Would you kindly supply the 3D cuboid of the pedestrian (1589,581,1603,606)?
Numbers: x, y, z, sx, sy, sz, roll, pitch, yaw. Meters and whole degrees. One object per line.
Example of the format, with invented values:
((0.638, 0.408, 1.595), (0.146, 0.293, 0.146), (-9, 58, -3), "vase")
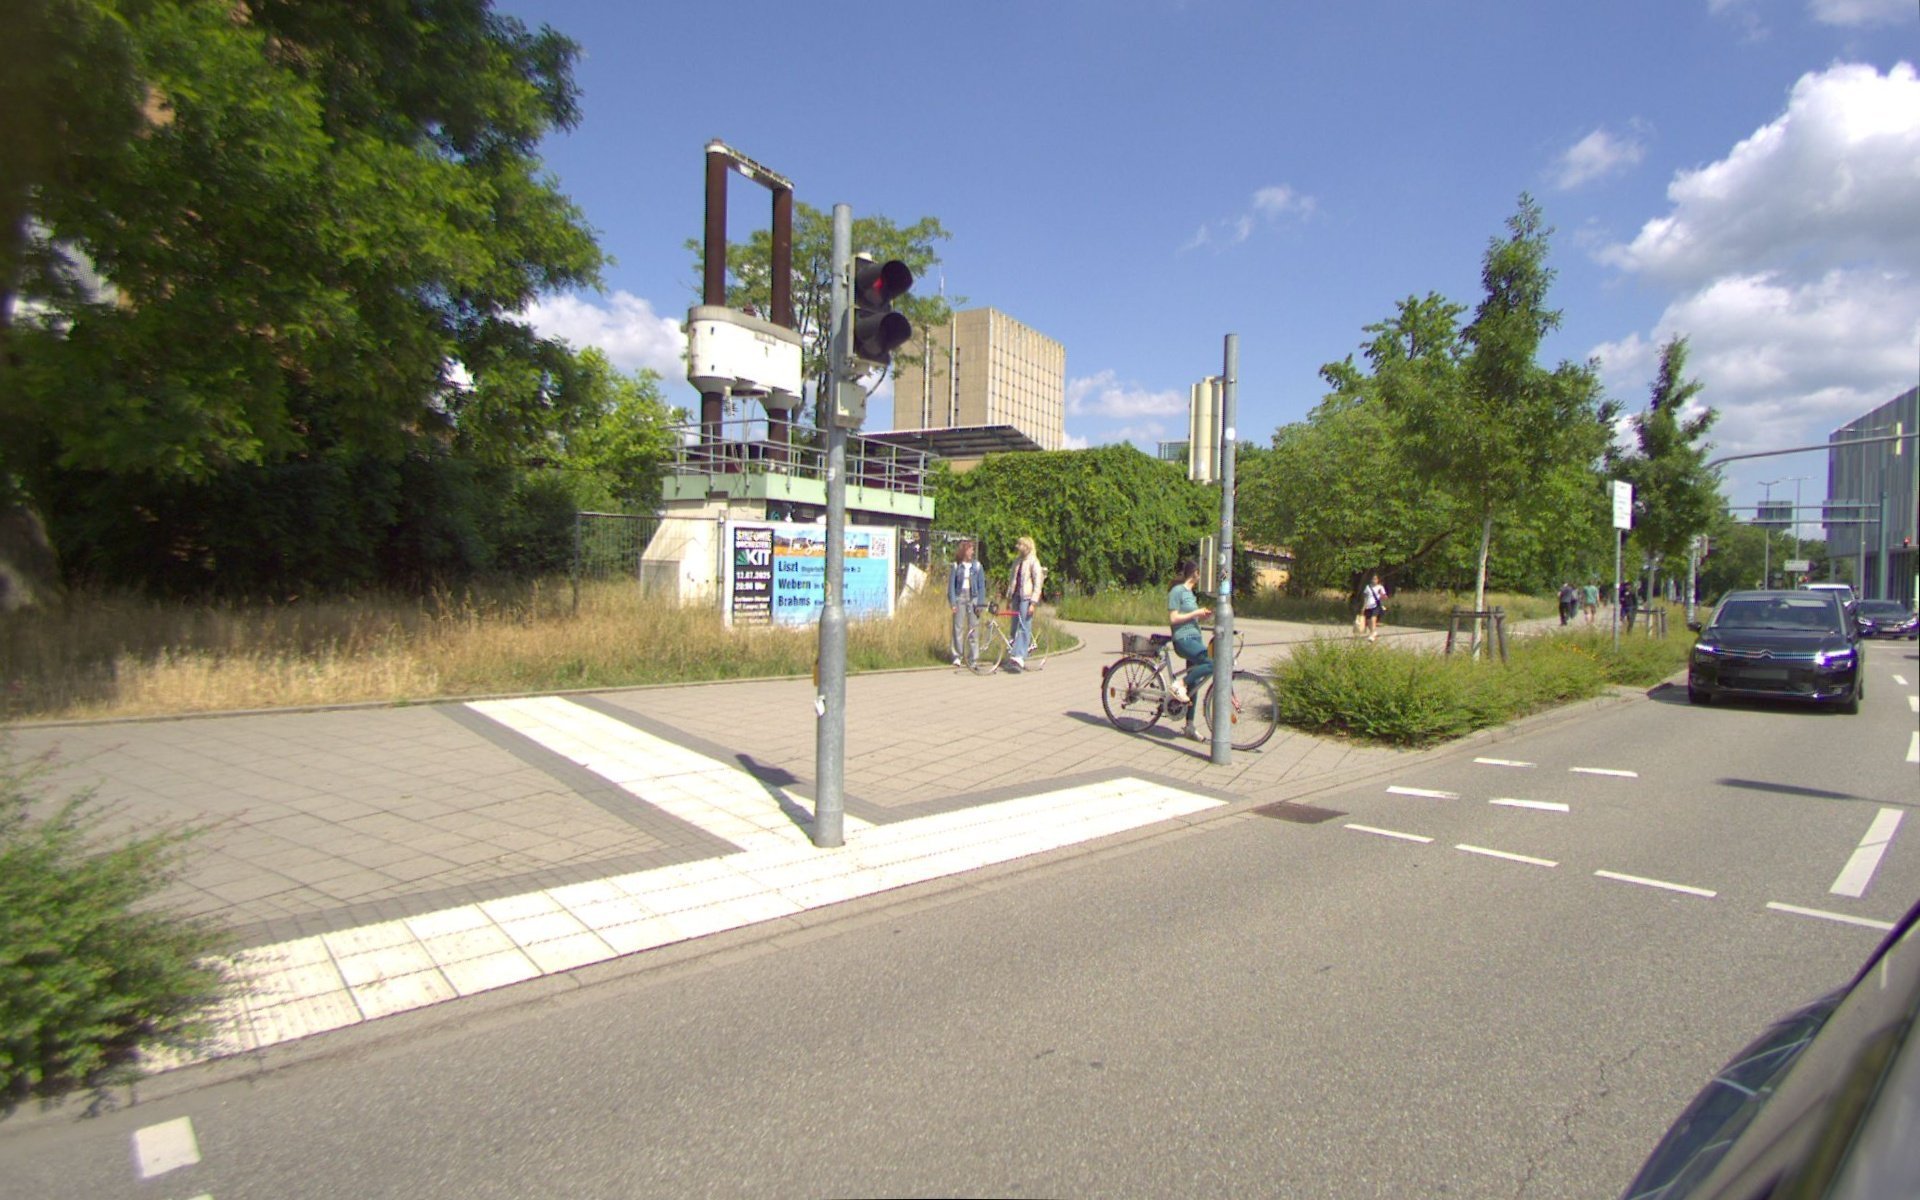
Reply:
((46.553, -0.485, 74.086), (0.839, 1.787, 0.832), (0, 1, 34), "pedestrian")

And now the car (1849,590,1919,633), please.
((34.360, 0.394, 37.367), (1.741, 1.523, 4.464), (-1, 0, 35), "car")

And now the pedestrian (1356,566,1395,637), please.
((9.841, 0.016, 23.964), (0.745, 1.616, 0.873), (3, 2, 27), "pedestrian")

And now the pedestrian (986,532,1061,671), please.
((0.861, 0.007, 13.759), (0.749, 1.824, 0.600), (3, 2, 41), "pedestrian")

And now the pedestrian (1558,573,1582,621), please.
((22.836, -0.129, 37.913), (0.662, 1.768, 0.603), (3, 2, 29), "pedestrian")

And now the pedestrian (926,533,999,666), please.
((0.029, -0.020, 14.008), (0.749, 1.774, 0.600), (3, 2, 41), "pedestrian")

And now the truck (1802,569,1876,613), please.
((48.756, -0.471, 56.270), (2.447, 2.330, 5.743), (-1, 0, 35), "truck")

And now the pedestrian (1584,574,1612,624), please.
((23.760, -0.053, 37.718), (0.745, 1.799, 0.873), (3, 2, 28), "pedestrian")

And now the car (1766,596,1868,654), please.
((23.497, 0.634, 27.896), (1.756, 1.435, 4.307), (-1, 0, 36), "car")

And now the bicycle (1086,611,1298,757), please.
((2.088, 0.714, 9.309), (1.809, 1.062, 0.583), (5, 5, 42), "bicycle")

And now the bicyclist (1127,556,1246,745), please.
((2.079, 0.426, 9.309), (0.827, 1.620, 0.571), (5, 4, 41), "bicyclist")

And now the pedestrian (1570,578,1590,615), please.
((30.339, -0.158, 49.512), (0.747, 1.771, 0.659), (3, 2, 34), "pedestrian")

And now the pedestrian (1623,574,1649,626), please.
((23.340, -0.004, 34.967), (0.664, 1.771, 0.837), (3, 2, 34), "pedestrian")

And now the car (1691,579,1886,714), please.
((12.049, 0.541, 14.602), (1.858, 1.643, 4.449), (1, 1, 43), "car")
